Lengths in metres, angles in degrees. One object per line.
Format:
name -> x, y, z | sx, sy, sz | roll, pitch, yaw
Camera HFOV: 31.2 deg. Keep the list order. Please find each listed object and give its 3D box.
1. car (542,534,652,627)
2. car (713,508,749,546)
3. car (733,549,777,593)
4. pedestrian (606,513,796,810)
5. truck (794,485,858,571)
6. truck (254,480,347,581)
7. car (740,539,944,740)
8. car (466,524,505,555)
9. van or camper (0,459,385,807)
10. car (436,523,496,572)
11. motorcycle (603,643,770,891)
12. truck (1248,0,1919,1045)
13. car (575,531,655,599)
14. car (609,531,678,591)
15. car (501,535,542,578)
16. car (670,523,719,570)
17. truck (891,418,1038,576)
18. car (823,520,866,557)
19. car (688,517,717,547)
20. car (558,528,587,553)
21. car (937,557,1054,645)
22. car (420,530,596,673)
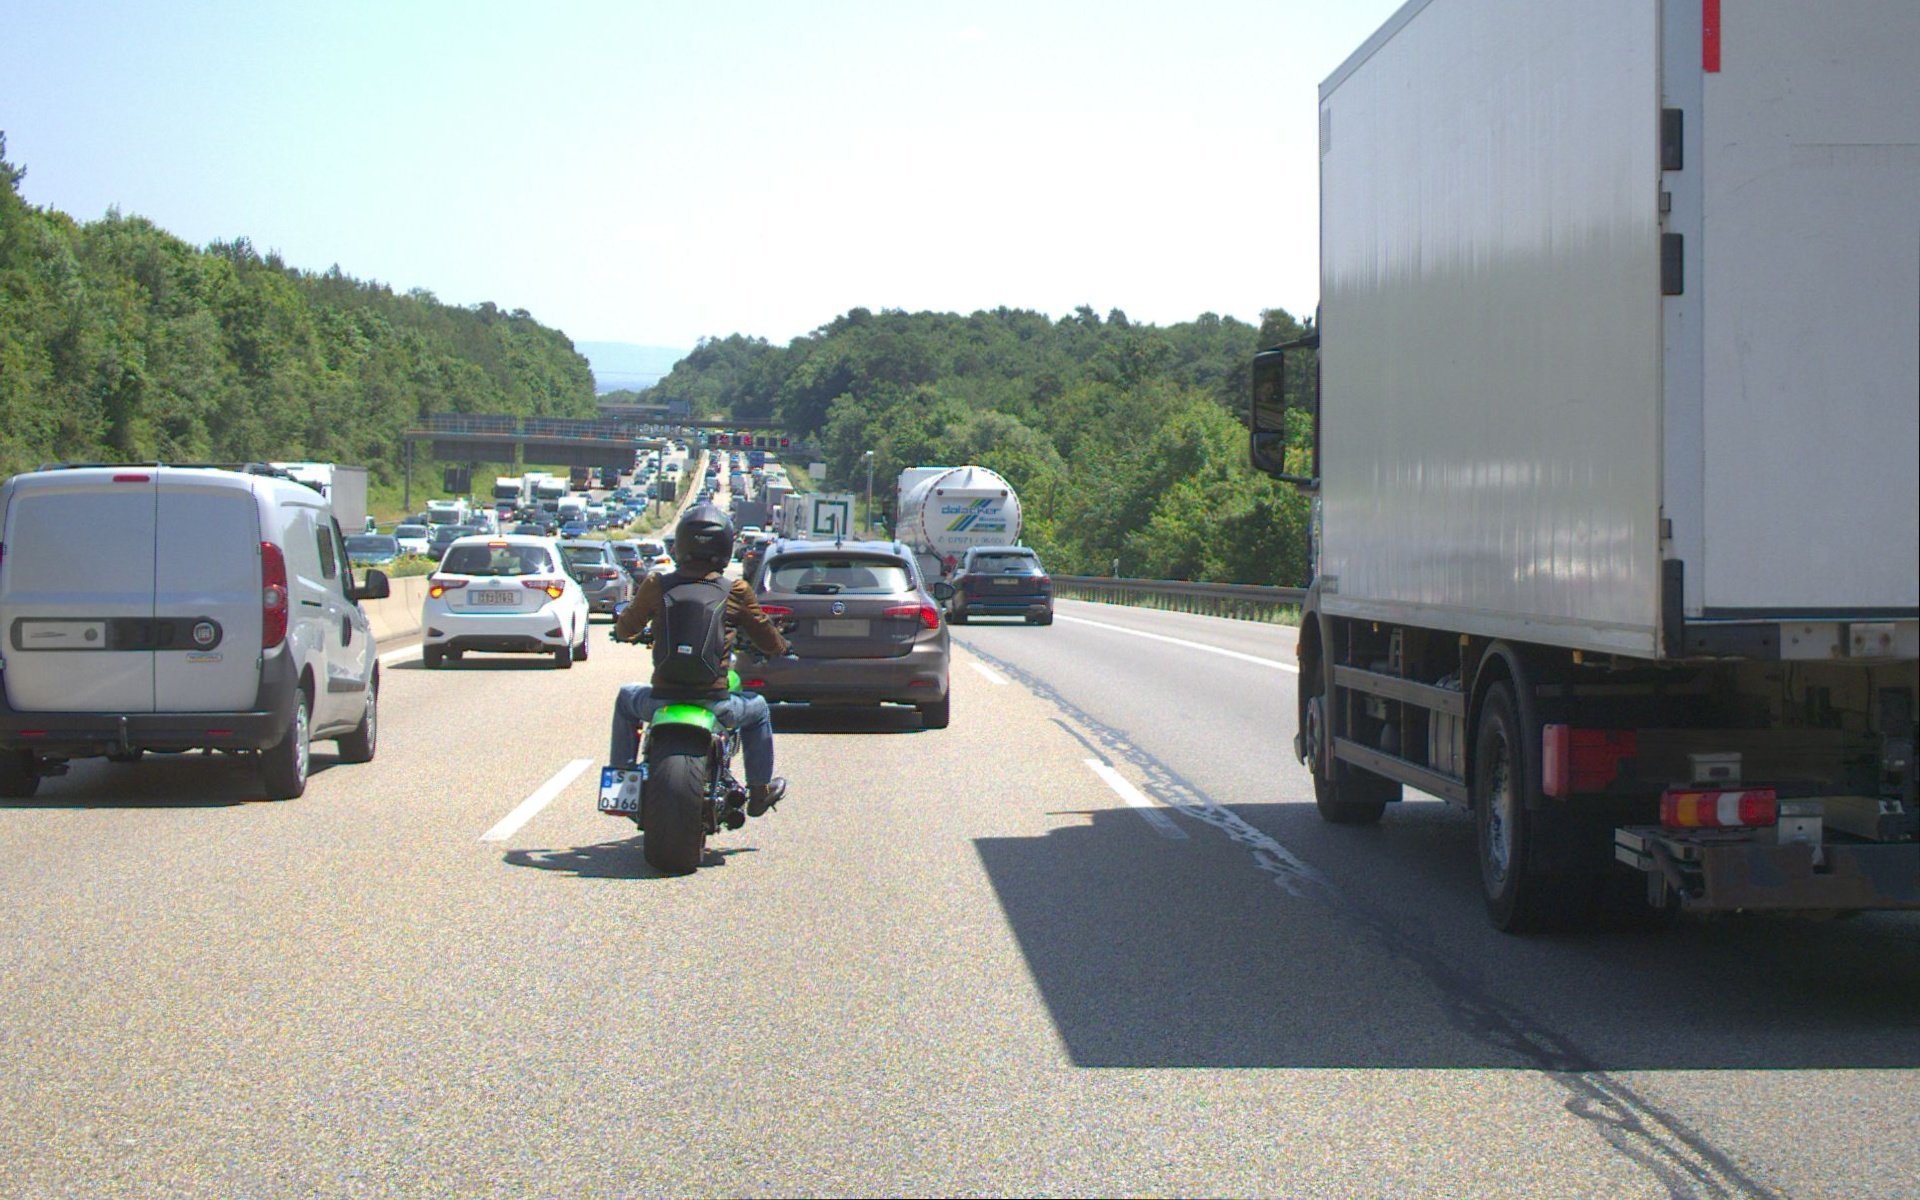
car -> -6.346, -0.361, 60.410 | 1.699, 1.473, 4.001 | 3, 1, -4
car -> -12.716, -4.039, 190.709 | 1.801, 2.007, 4.001 | 1, 0, -6
car -> -7.026, -0.989, 117.838 | 1.392, 1.458, 2.779 | 1, 1, -1
pedestrian -> -1.211, 0.273, 16.249 | 0.849, 1.357, 0.962 | 1, 1, -3
truck -> -7.505, -4.047, 191.807 | 3.033, 4.526, 9.984 | 4, 1, -4
truck -> -26.253, -2.743, 137.190 | 2.812, 3.895, 7.317 | 1, 0, -4
car -> -0.982, 0.269, 28.150 | 1.532, 1.504, 4.001 | 1, 1, -3
car -> -32.449, -4.138, 235.080 | 2.227, 2.007, 5.813 | 1, 1, -4
van or camper -> -4.630, 0.160, 20.825 | 1.796, 1.886, 4.160 | 1, 0, -3
car -> -17.632, -1.882, 122.829 | 1.683, 1.692, 4.659 | 1, 1, -3
motorcycle -> -1.254, 0.744, 16.091 | 0.691, 1.012, 2.122 | 1, 1, -3
truck -> 3.223, -0.671, 15.333 | 2.688, 3.863, 9.781 | 0, 1, -2
car -> -8.167, -0.855, 81.685 | 1.699, 1.473, 4.001 | 3, 1, -4
car -> -8.530, -1.068, 92.926 | 1.699, 1.473, 4.001 | 3, 1, -4
car -> -20.691, -2.057, 162.281 | 1.763, 2.007, 4.001 | 1, 1, -5
car -> -11.136, -2.258, 144.191 | 1.880, 1.853, 4.001 | 3, 1, -4
truck -> 0.021, -2.443, 85.039 | 2.987, 3.659, 9.289 | 1, 1, -4
car -> -5.300, -2.815, 157.023 | 1.787, 1.550, 3.804 | 3, 1, -4
car -> -17.872, -4.718, 238.873 | 1.929, 2.007, 4.001 | 1, 0, -3
car -> -24.966, -3.835, 221.543 | 1.710, 1.532, 4.129 | 1, 1, -5
car -> 0.634, -0.006, 64.782 | 1.828, 1.465, 4.001 | 3, 1, -4
car -> -5.178, -0.021, 39.763 | 1.699, 1.473, 4.001 | 3, 1, -4
